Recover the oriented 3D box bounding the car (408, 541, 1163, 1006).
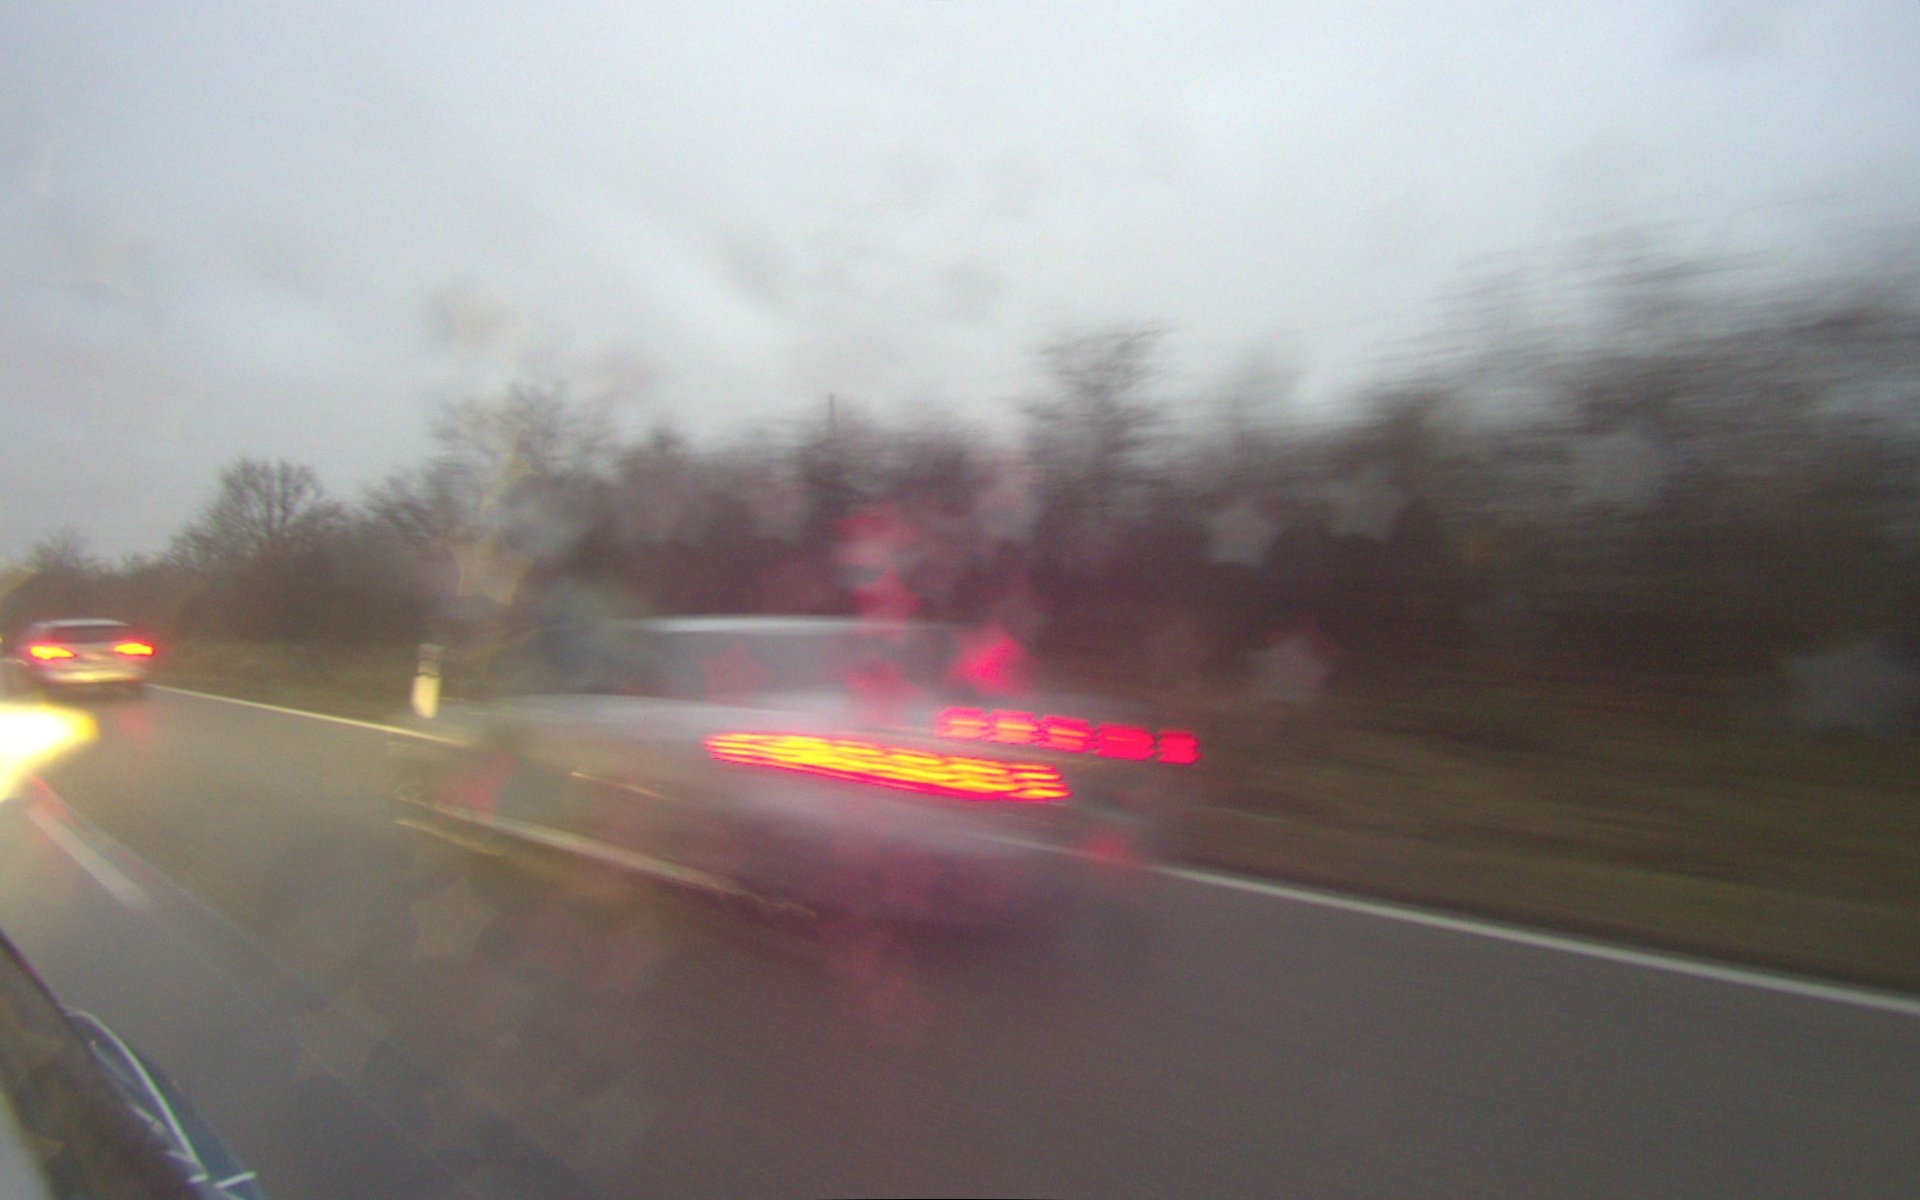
[{"bbox_3d":[-1.347,0.644,5.822,4.684,1.653,1.740,-1,0,42],"label":"car"}]

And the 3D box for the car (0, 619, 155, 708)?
[{"bbox_3d":[-17.126,1.145,19.460,4.092,1.510,1.807,-1,-1,40],"label":"car"}]
